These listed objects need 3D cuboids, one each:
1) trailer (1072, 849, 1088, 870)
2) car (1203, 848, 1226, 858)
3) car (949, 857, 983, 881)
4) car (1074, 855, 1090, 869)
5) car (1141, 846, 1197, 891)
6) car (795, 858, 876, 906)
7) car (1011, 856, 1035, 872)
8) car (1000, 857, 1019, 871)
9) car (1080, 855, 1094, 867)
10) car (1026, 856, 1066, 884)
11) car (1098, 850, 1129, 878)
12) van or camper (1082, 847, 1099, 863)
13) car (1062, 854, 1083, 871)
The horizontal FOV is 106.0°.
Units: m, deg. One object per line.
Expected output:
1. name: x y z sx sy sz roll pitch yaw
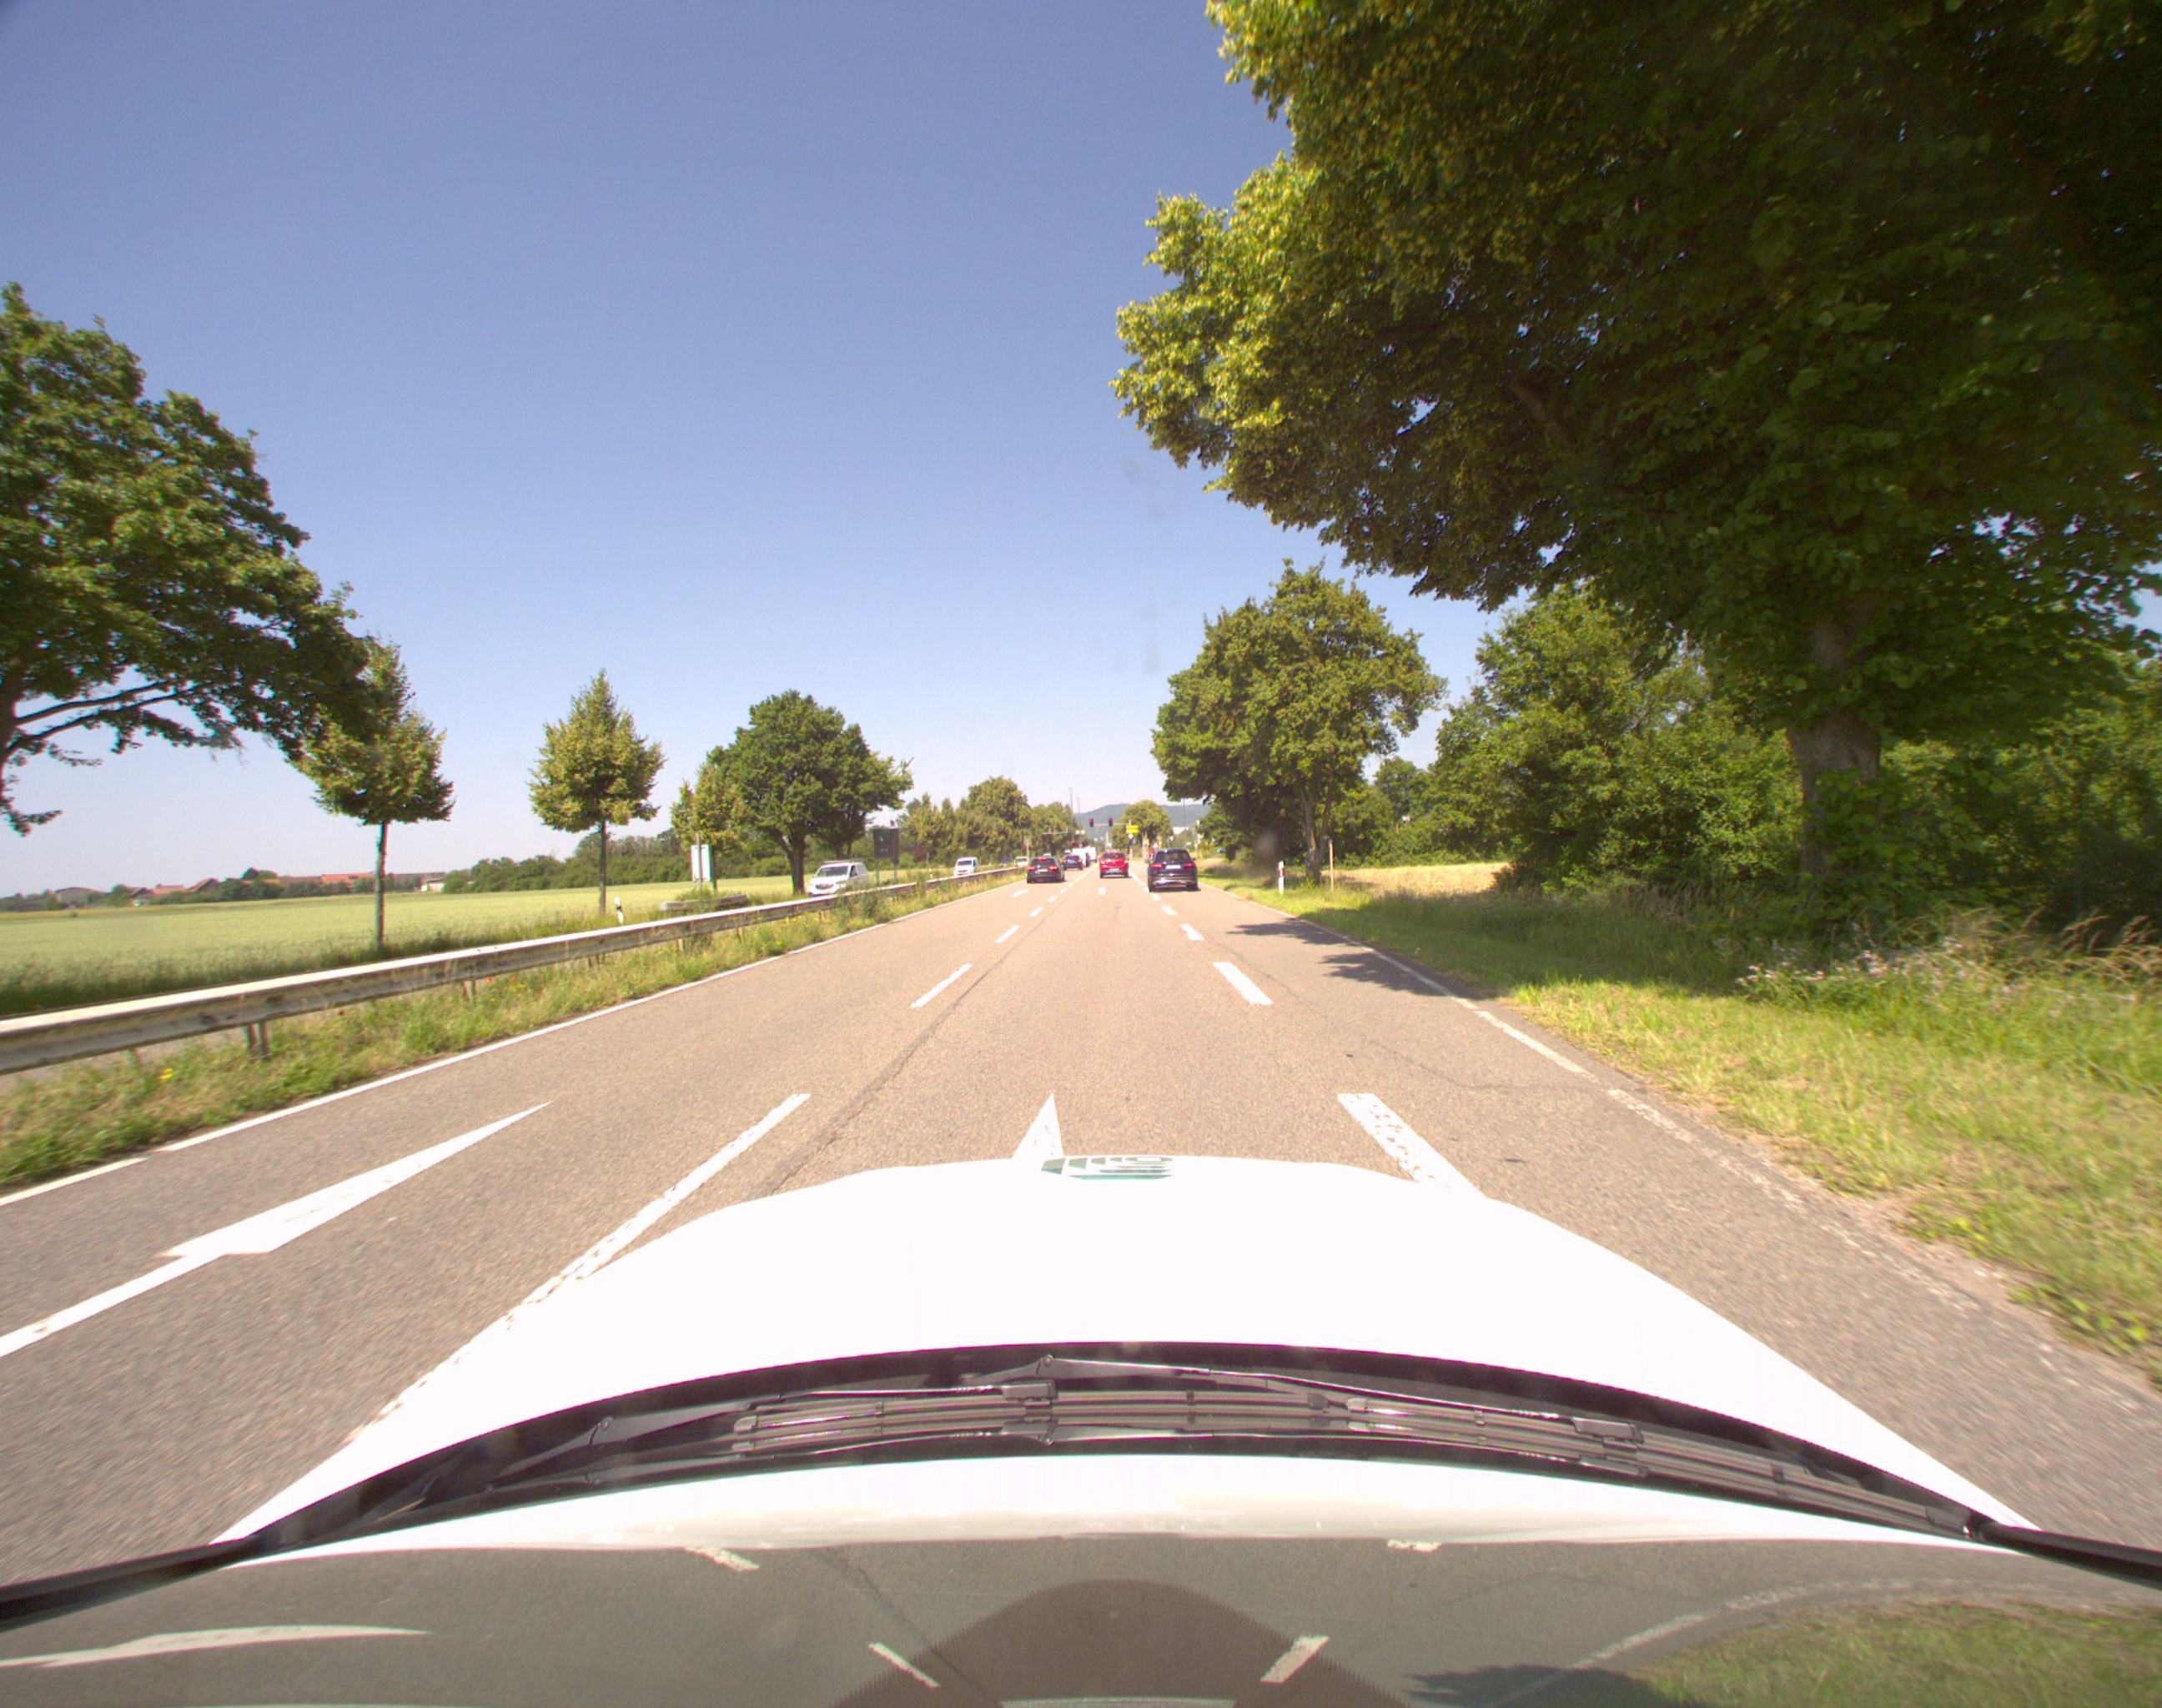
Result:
1. trailer: -0.100 0.550 88.702 1.495 2.173 4.176 -3 0 2
2. car: 23.514 -0.152 143.022 3.792 1.580 2.081 -3 0 13
3. car: -10.515 1.329 74.607 1.985 1.960 4.932 -4 0 3
4. car: 0.175 0.962 99.542 1.716 1.575 3.895 -3 0 3
5. car: 3.417 0.533 32.248 1.985 1.616 4.344 -2 0 4
6. car: -11.440 1.247 38.353 2.028 2.013 4.538 -3 0 4
7. car: -6.193 1.044 87.442 1.986 1.557 4.483 -2 0 2
8. car: -9.368 1.320 106.853 1.986 1.662 4.482 -2 0 1
9. car: 0.904 0.959 113.001 1.717 1.600 3.958 -3 0 3
10. car: -1.847 0.821 44.177 1.733 1.380 4.457 -3 0 2
11. car: 2.030 0.598 49.320 1.742 1.575 3.680 -2 0 4
12. van or camper: 1.490 0.129 124.355 2.170 2.302 4.830 -3 0 3
13. car: -0.740 0.763 74.898 1.710 1.465 4.032 -3 0 2
